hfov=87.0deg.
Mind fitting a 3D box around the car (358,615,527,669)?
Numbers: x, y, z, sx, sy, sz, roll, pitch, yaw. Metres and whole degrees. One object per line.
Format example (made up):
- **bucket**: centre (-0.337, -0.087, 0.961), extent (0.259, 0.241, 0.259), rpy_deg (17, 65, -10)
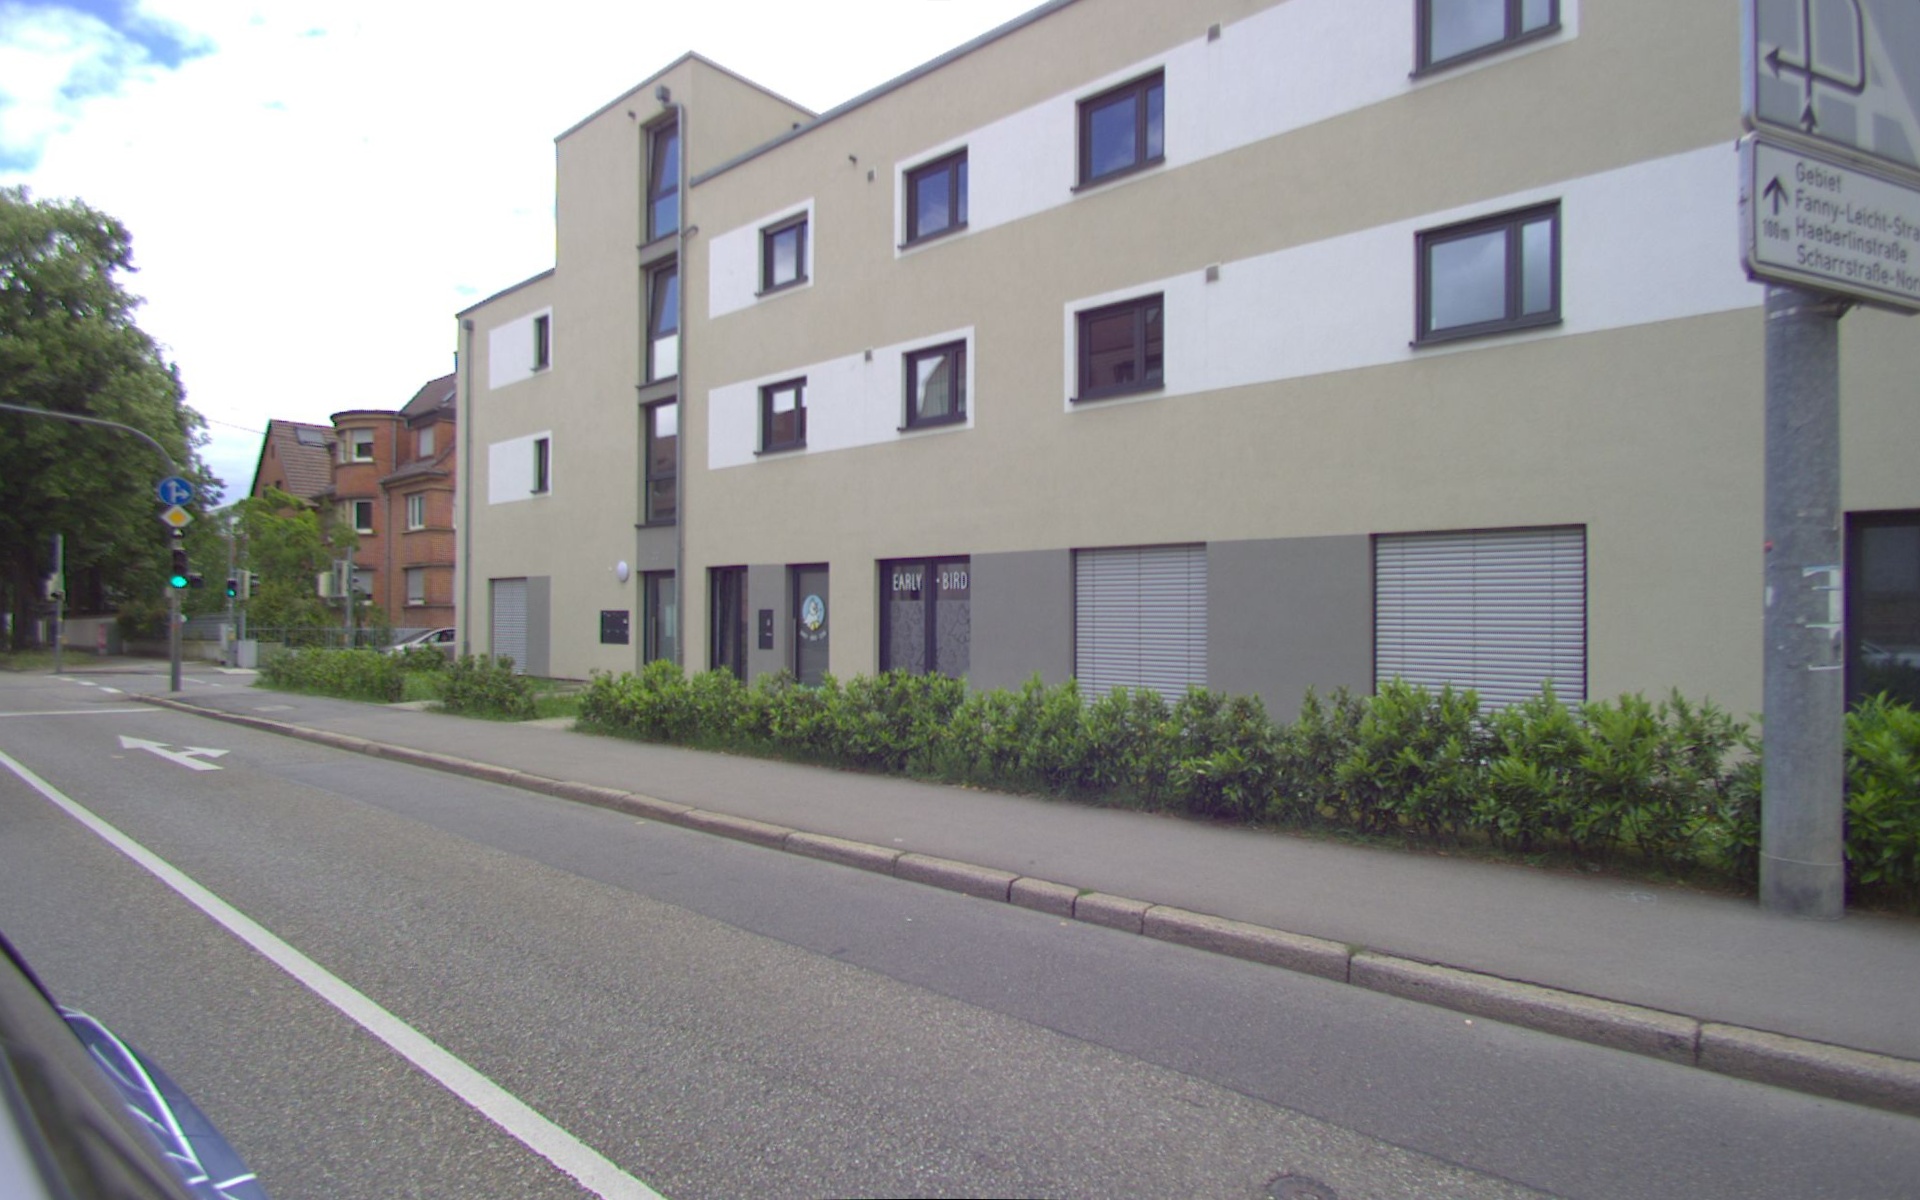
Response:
- **car**: centre (-17.714, 1.386, 34.871), extent (2.171, 1.697, 4.756), rpy_deg (-1, -1, 36)
